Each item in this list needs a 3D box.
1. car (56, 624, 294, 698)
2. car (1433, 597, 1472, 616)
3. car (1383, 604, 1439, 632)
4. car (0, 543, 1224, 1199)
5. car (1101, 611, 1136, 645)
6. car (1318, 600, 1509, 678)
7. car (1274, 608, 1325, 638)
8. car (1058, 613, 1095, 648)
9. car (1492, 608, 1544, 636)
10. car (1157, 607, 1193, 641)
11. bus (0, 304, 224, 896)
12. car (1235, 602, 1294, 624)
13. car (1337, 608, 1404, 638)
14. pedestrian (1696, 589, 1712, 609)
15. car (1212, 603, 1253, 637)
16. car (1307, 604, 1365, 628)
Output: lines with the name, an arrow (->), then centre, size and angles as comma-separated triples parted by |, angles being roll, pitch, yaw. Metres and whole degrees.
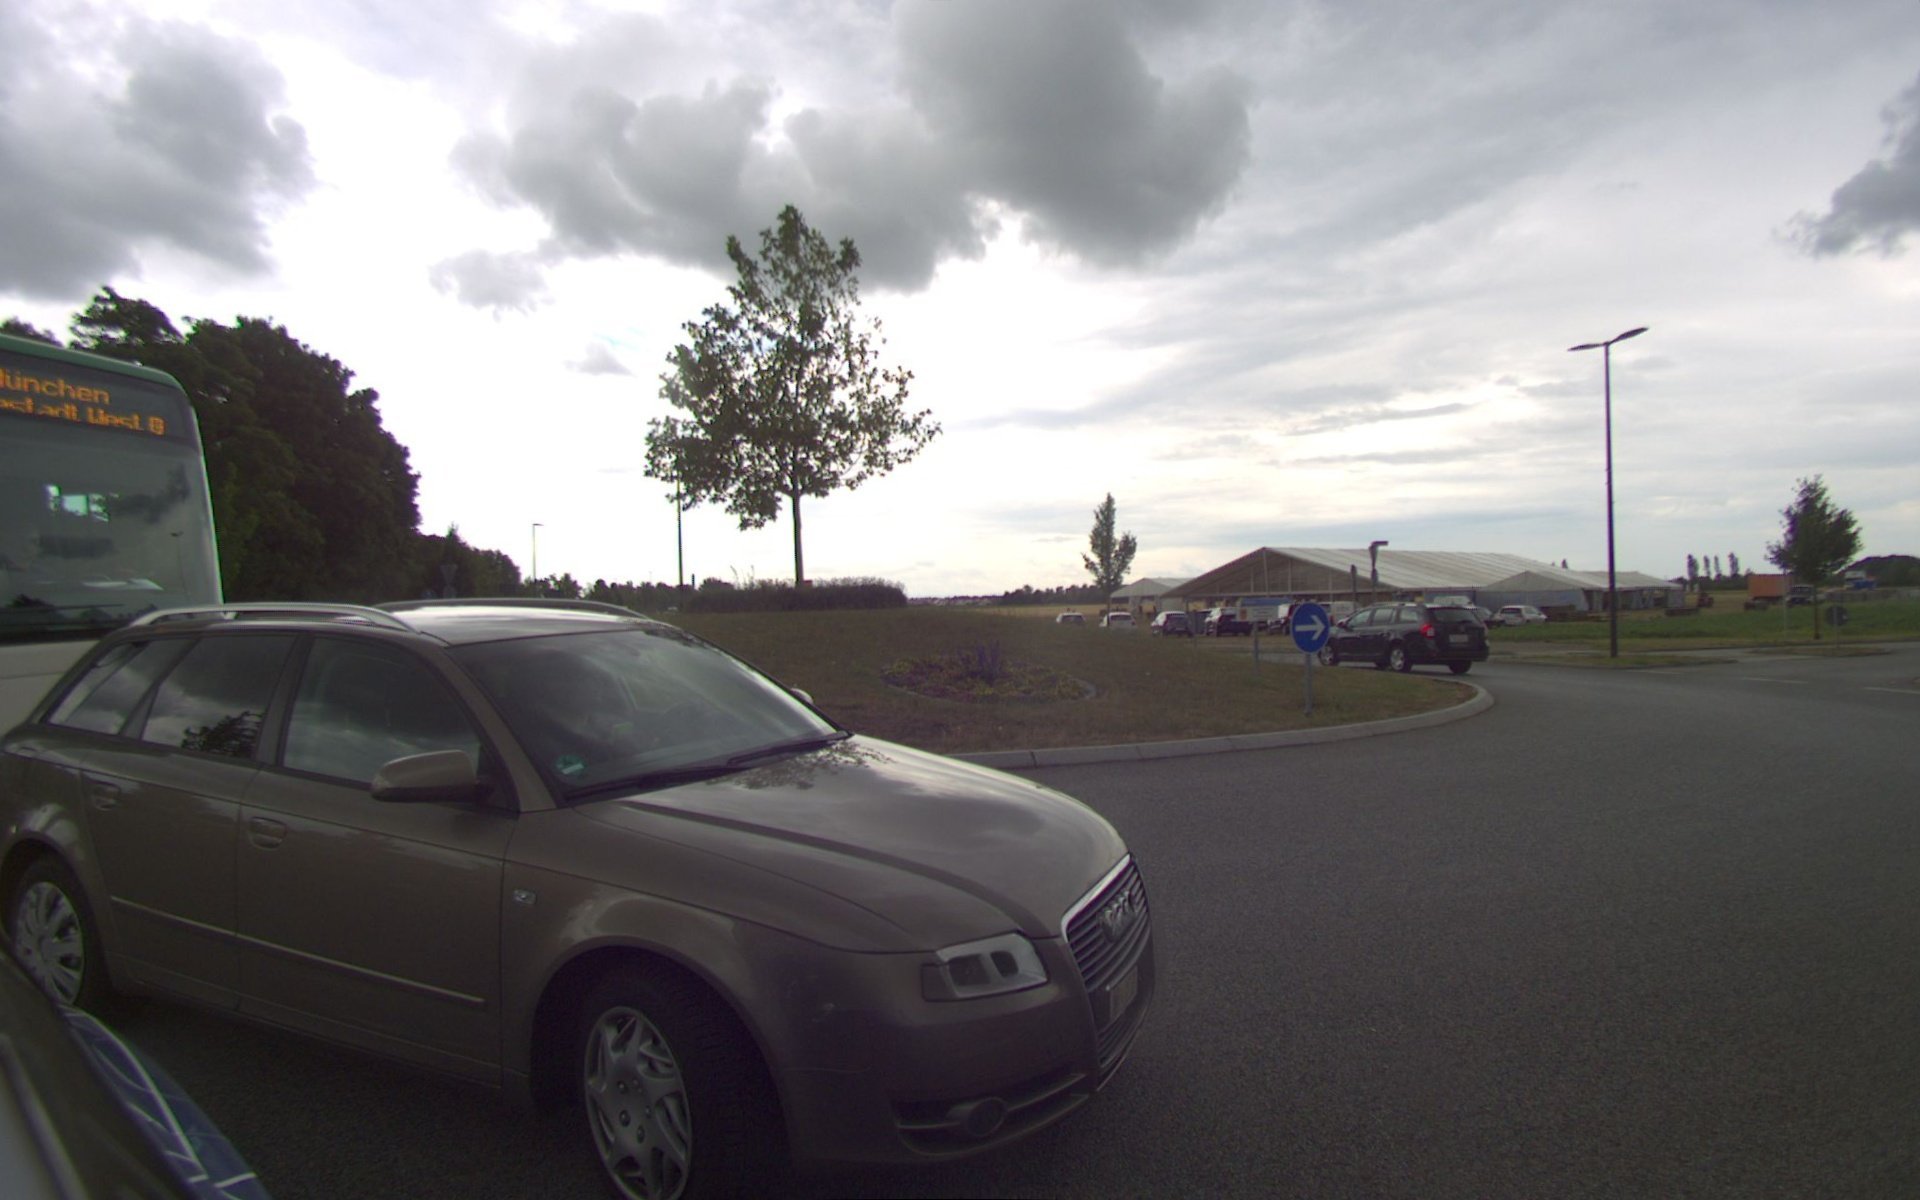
car -> -18.020, 1.336, 23.393 | 1.760, 1.441, 4.032 | -2, 0, 36
car -> 44.828, 0.612, 92.170 | 3.770, 1.618, 1.838 | -1, -1, -41
car -> 28.657, 1.140, 64.324 | 3.770, 1.619, 1.837 | -1, -1, -42
car -> -1.532, 0.652, 3.525 | 4.514, 1.476, 1.768 | -1, 0, 25
car -> 8.649, 1.488, 54.946 | 1.697, 1.564, 3.988 | -4, 1, 10
car -> 9.988, 0.810, 22.697 | 1.745, 1.575, 4.289 | 0, -1, -11
car -> 18.121, 1.195, 54.167 | 1.930, 1.453, 3.988 | -2, 0, 10
car -> 6.393, 1.637, 55.166 | 1.697, 1.564, 3.988 | -4, 1, 10
car -> 33.089, 1.302, 59.959 | 1.732, 1.565, 3.942 | -2, -1, 44
car -> 11.656, 1.282, 55.062 | 1.697, 1.564, 3.988 | -4, 1, 10
bus -> -8.487, 0.012, 6.338 | 6.477, 3.283, 2.517 | 0, -1, 11
car -> 22.219, 0.927, 73.851 | 3.933, 1.453, 1.957 | -1, 0, -33
car -> 23.180, 1.277, 57.228 | 1.707, 1.619, 3.883 | -1, 0, -9
pedestrian -> 79.001, -0.091, 107.515 | 1.043, 2.029, 1.054 | -1, 0, -37
car -> 14.822, 1.065, 55.248 | 1.697, 1.564, 3.988 | -4, 1, 10
car -> 24.814, 1.023, 66.789 | 3.939, 1.453, 1.954 | -1, 0, -42
